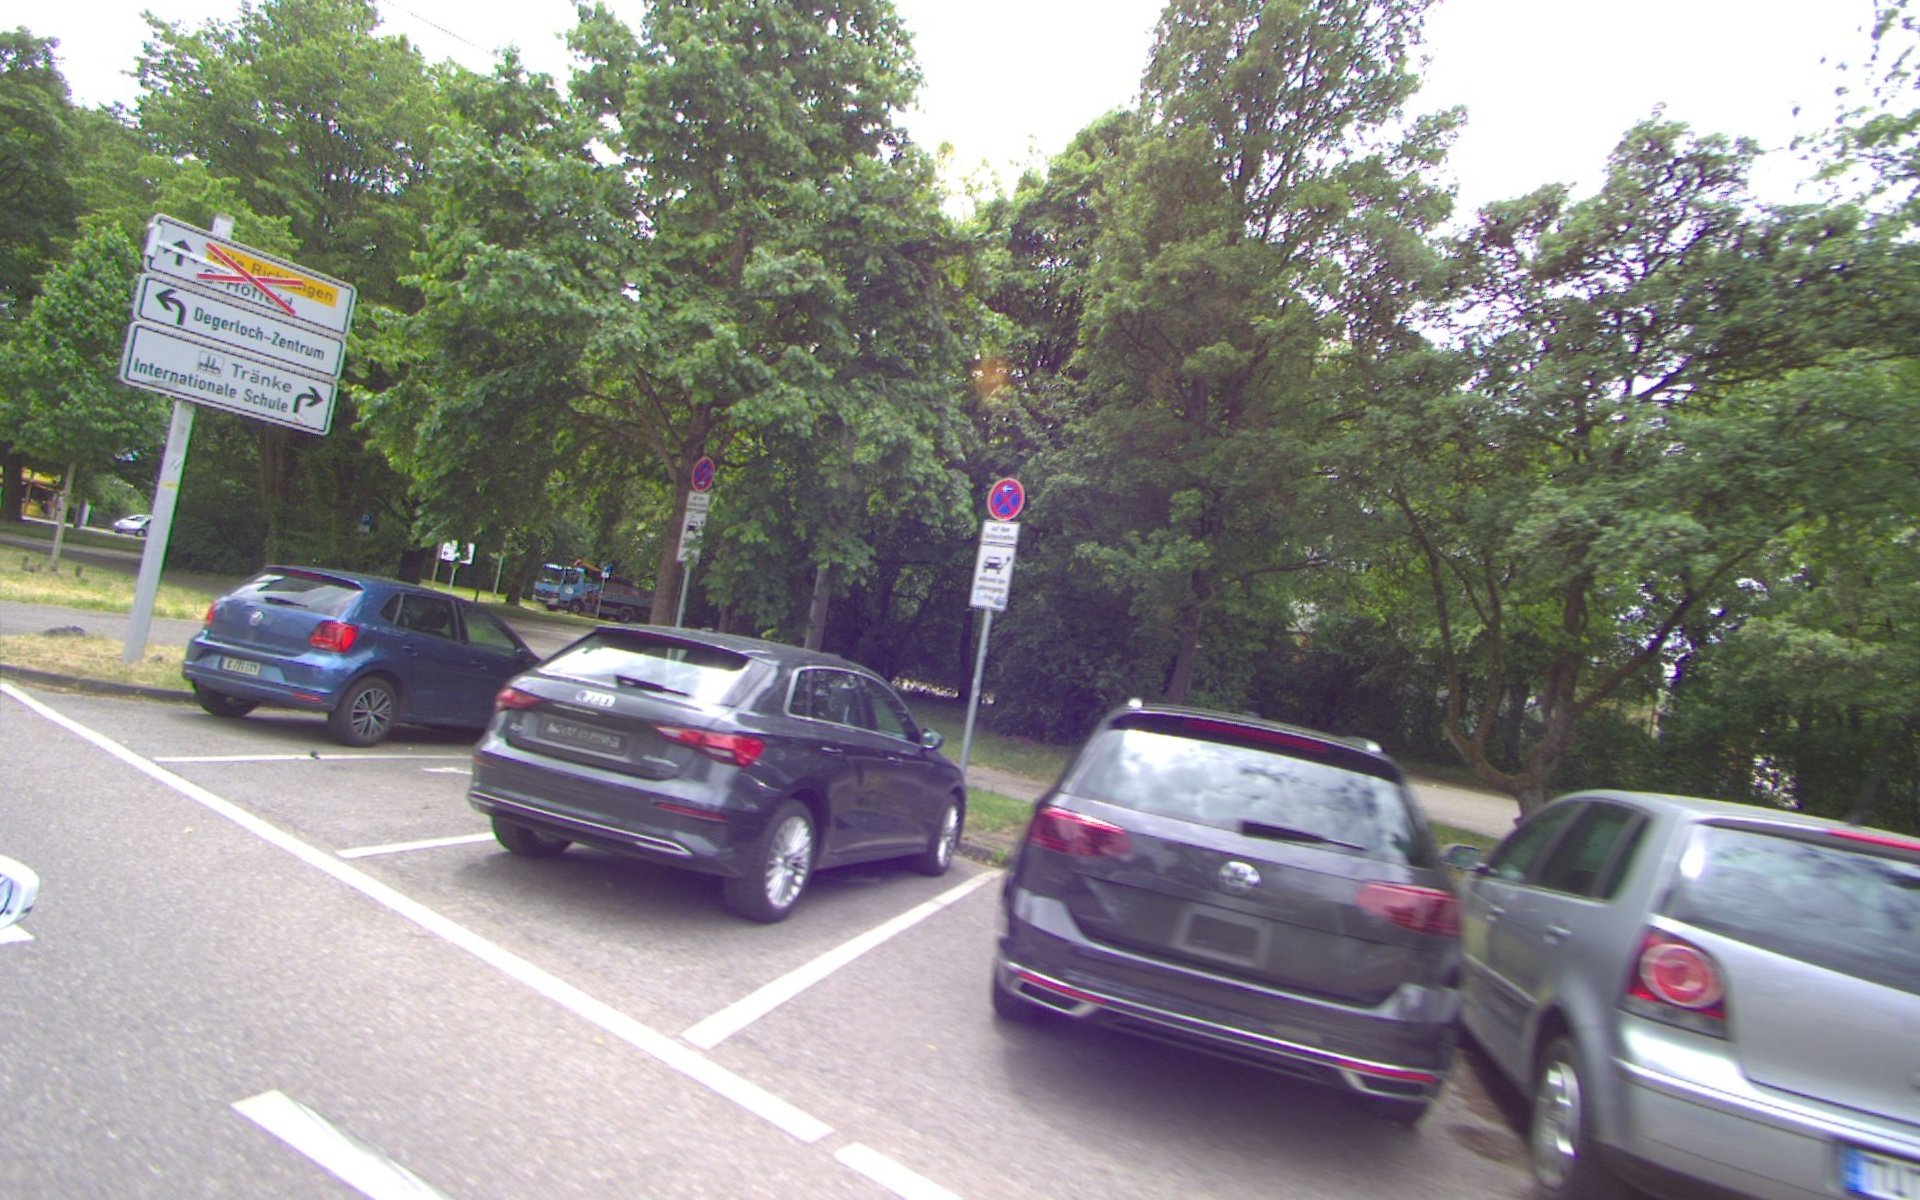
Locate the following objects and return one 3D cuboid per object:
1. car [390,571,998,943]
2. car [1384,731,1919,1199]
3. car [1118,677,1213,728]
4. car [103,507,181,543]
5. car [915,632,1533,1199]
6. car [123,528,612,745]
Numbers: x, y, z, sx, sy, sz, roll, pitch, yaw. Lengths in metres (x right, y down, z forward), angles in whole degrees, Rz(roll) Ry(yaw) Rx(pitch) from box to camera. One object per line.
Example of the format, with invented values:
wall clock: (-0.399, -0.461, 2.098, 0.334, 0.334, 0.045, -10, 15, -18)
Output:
car: (-1.256, 0.986, 6.554, 1.796, 1.439, 3.899, 7, -7, 20)
car: (3.125, 1.543, 4.350, 1.713, 1.542, 3.845, 8, -6, 16)
car: (8.020, 3.999, 39.029, 1.775, 1.424, 3.988, 6, -5, 41)
car: (-54.592, -4.994, 67.220, 1.962, 1.547, 3.480, 9, -3, 9)
car: (1.282, 1.280, 5.032, 1.713, 1.542, 3.845, 8, -7, 16)
car: (-5.413, 0.524, 9.866, 1.713, 1.438, 3.845, 8, -7, 16)
